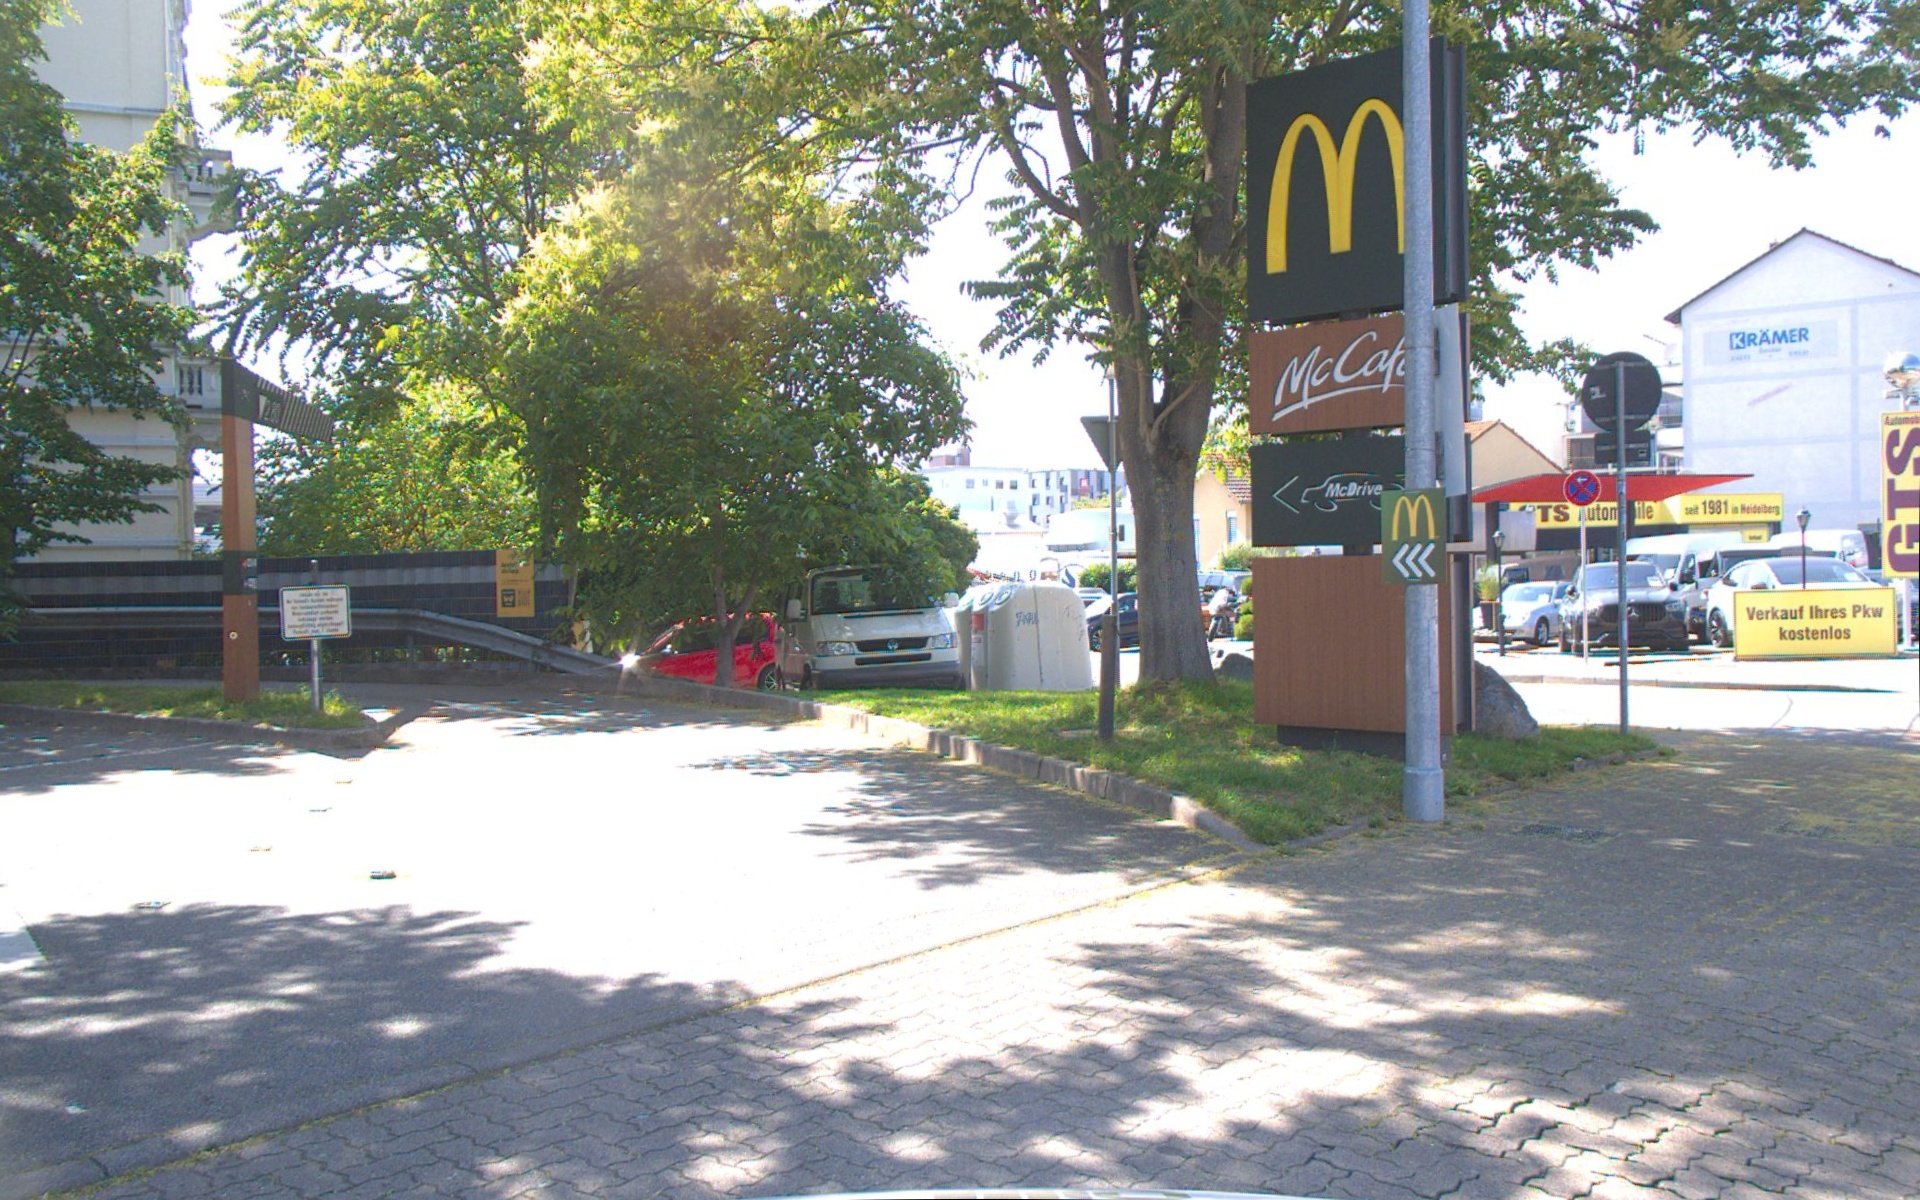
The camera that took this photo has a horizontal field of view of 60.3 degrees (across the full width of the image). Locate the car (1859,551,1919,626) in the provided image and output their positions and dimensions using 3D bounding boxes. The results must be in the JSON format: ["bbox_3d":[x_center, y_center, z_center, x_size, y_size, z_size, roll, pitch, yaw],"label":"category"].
[{"bbox_3d":[22.193,-0.297,38.591,1.819,1.657,3.998,0,1,24],"label":"car"}]

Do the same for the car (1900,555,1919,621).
[{"bbox_3d":[25.666,-0.339,42.954,1.819,1.657,3.998,0,1,24],"label":"car"}]

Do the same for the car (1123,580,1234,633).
[{"bbox_3d":[6.997,0.178,53.326,1.964,1.612,3.977,0,1,-20],"label":"car"}]

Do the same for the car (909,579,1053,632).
[{"bbox_3d":[0.731,0.192,56.363,4.588,1.756,1.981,0,0,-29],"label":"car"}]

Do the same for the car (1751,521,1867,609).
[{"bbox_3d":[23.722,-0.958,46.139,2.101,2.324,4.691,0,1,37],"label":"car"}]

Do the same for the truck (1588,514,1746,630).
[{"bbox_3d":[19.410,-0.789,45.267,2.236,2.954,5.908,1,2,41],"label":"truck"}]

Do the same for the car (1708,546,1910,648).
[{"bbox_3d":[15.548,-0.073,30.541,1.951,1.755,4.003,0,1,5],"label":"car"}]

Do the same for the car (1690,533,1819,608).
[{"bbox_3d":[19.956,-0.745,41.451,1.848,1.768,4.698,1,2,40],"label":"car"}]

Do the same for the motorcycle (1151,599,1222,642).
[{"bbox_3d":[6.369,0.576,46.588,1.834,1.179,0.788,0,0,-10],"label":"motorcycle"}]

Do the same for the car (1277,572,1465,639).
[{"bbox_3d":[10.205,0.124,41.336,4.231,1.612,2.001,0,0,1],"label":"car"}]

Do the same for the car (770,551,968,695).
[{"bbox_3d":[-1.301,0.190,21.163,1.916,1.610,5.019,0,1,-10],"label":"car"}]

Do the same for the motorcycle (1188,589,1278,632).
[{"bbox_3d":[8.191,0.296,49.607,2.681,1.248,0.989,0,1,-30],"label":"motorcycle"}]

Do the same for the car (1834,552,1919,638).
[{"bbox_3d":[19.057,-0.135,33.833,1.819,1.657,3.998,0,1,24],"label":"car"}]

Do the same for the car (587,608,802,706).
[{"bbox_3d":[-4.498,0.922,27.964,3.354,1.402,1.478,-2,3,-21],"label":"car"}]

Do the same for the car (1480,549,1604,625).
[{"bbox_3d":[16.544,-0.381,46.916,1.962,2.049,4.474,0,1,39],"label":"car"}]

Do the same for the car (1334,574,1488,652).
[{"bbox_3d":[9.469,0.238,34.548,1.759,1.536,3.982,0,1,38],"label":"car"}]

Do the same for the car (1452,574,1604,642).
[{"bbox_3d":[13.398,0.164,38.892,3.968,1.513,1.766,0,1,-43],"label":"car"}]

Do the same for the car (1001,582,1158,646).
[{"bbox_3d":[3.324,0.362,46.151,3.932,1.735,1.987,0,1,-23],"label":"car"}]

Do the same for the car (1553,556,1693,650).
[{"bbox_3d":[12.352,0.023,31.087,2.003,1.622,4.426,0,1,16],"label":"car"}]

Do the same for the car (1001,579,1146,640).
[{"bbox_3d":[3.394,0.277,49.491,3.944,1.756,1.980,0,0,-30],"label":"car"}]

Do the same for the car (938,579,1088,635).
[{"bbox_3d":[1.758,0.219,54.186,4.588,1.756,1.981,0,0,-29],"label":"car"}]
